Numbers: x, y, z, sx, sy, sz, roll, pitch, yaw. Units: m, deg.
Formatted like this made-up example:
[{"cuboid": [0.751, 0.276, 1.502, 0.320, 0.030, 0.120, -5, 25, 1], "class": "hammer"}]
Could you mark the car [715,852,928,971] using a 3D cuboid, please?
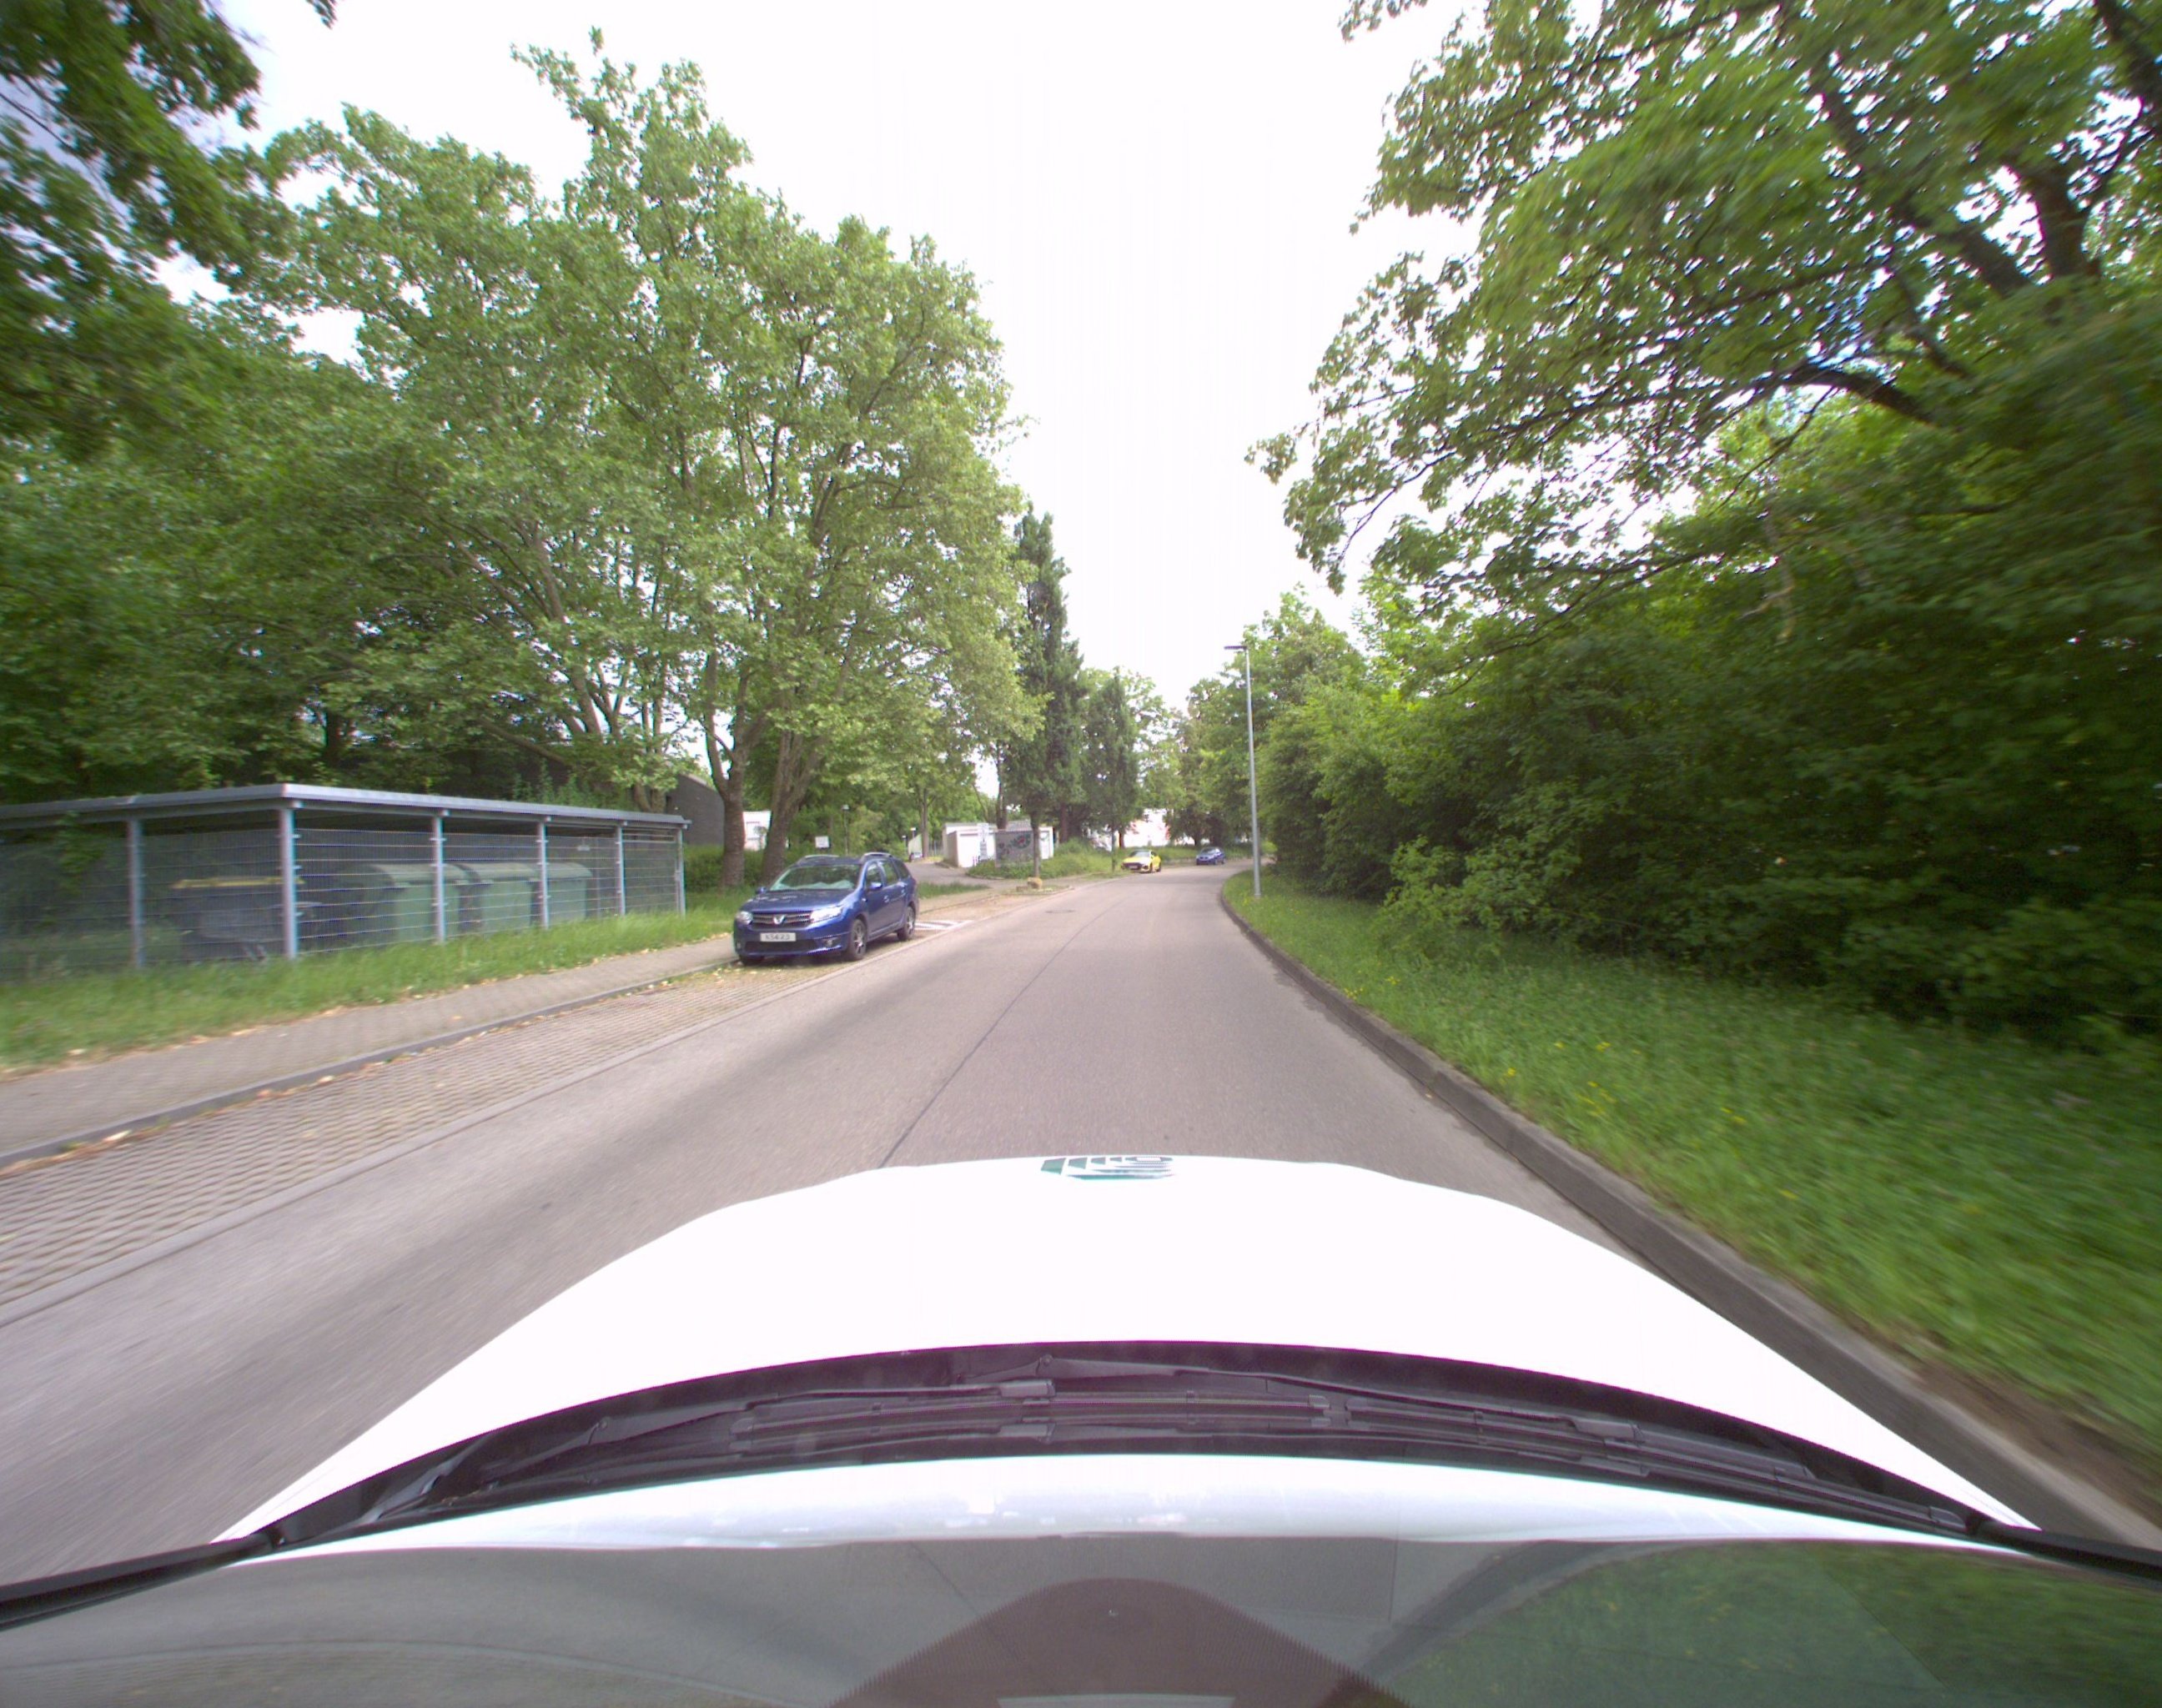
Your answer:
[{"cuboid": [-3.869, 0.765, 13.019, 1.672, 1.511, 4.436, -2, 0, 4], "class": "car"}]

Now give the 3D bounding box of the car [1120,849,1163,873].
[{"cuboid": [3.800, 0.386, 50.516, 1.687, 1.403, 4.292, -1, 0, 17], "class": "car"}]

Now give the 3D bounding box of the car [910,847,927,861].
[{"cuboid": [-21.720, -0.021, 109.011, 1.871, 1.746, 3.989, -3, 1, -8], "class": "car"}]

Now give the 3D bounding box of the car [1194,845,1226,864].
[{"cuboid": [10.674, 0.018, 67.217, 1.519, 1.459, 3.742, -2, 0, 25], "class": "car"}]
